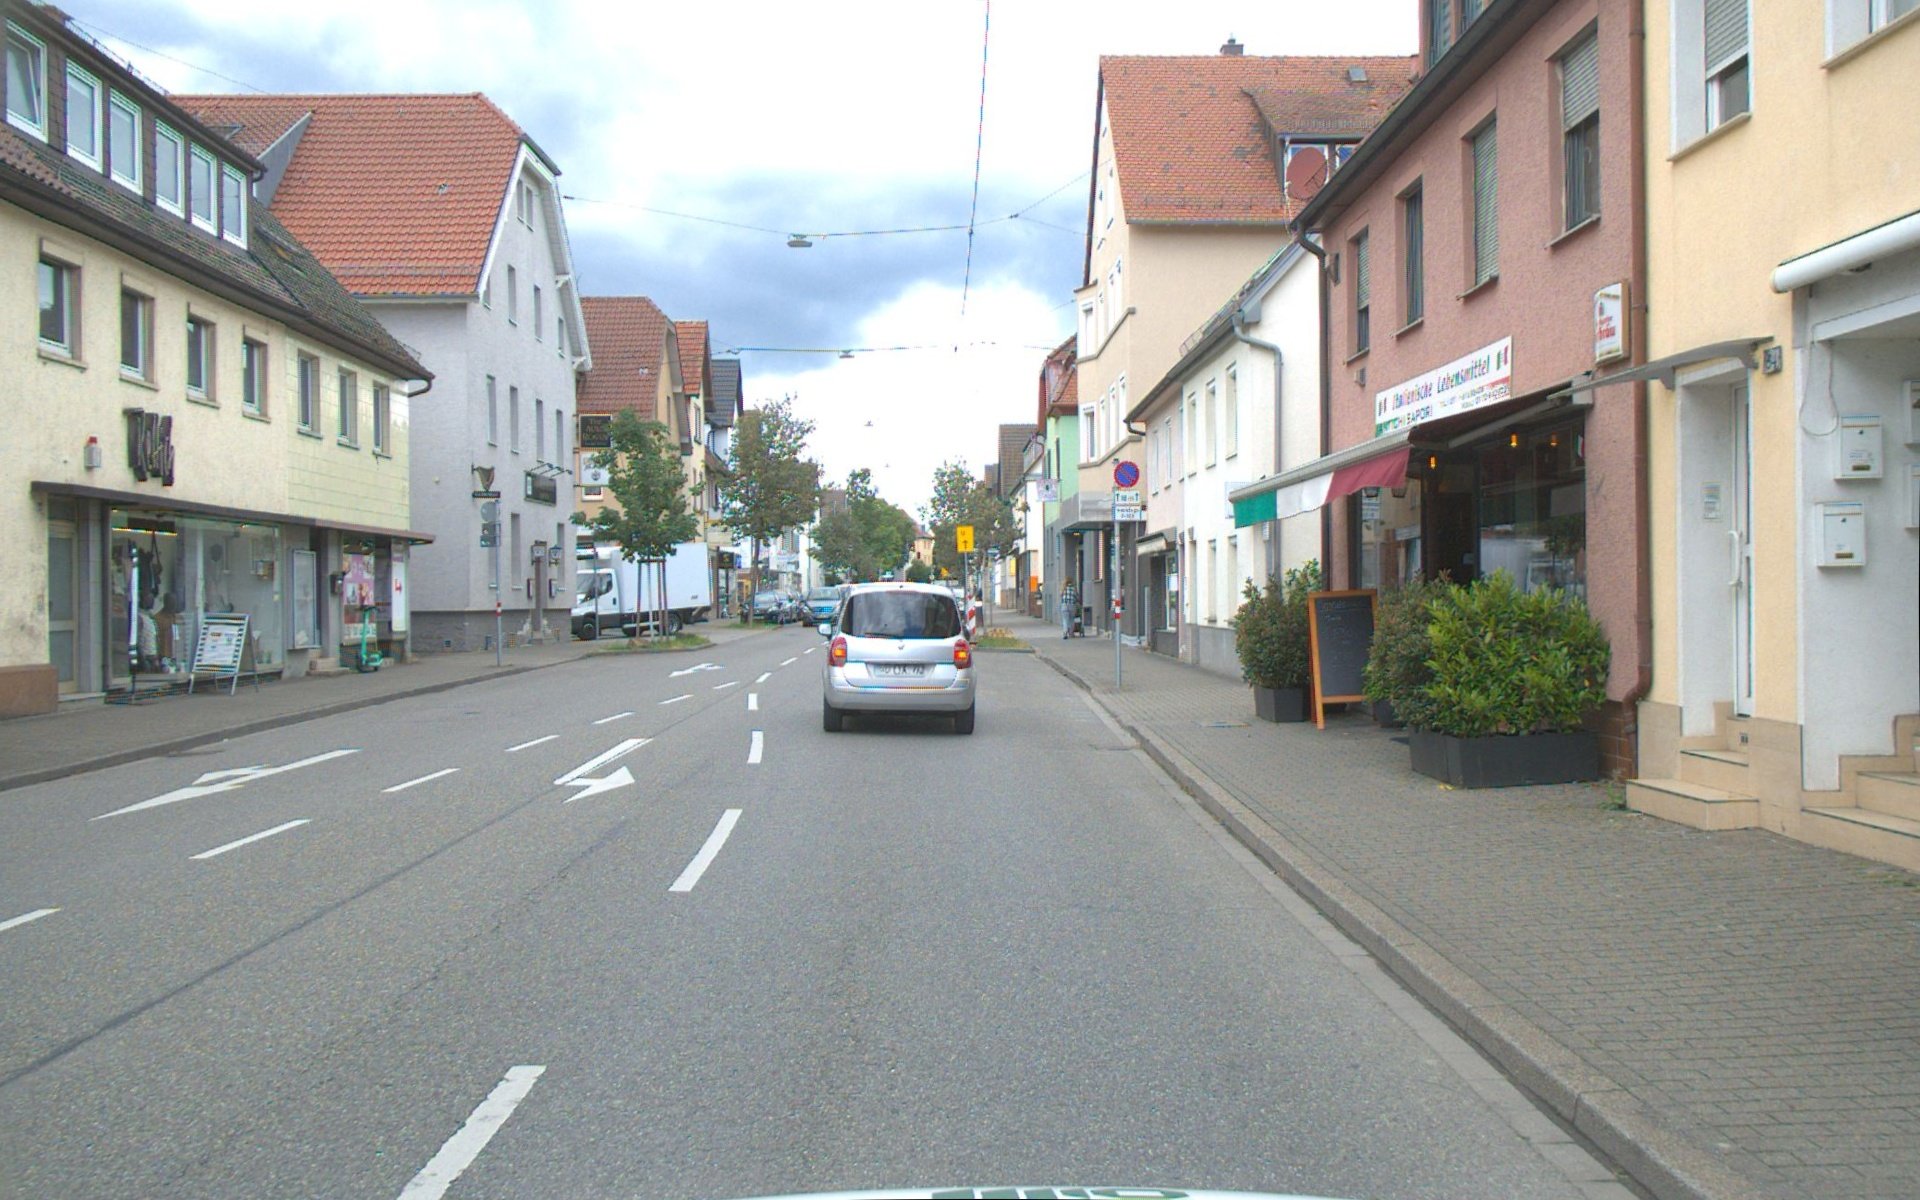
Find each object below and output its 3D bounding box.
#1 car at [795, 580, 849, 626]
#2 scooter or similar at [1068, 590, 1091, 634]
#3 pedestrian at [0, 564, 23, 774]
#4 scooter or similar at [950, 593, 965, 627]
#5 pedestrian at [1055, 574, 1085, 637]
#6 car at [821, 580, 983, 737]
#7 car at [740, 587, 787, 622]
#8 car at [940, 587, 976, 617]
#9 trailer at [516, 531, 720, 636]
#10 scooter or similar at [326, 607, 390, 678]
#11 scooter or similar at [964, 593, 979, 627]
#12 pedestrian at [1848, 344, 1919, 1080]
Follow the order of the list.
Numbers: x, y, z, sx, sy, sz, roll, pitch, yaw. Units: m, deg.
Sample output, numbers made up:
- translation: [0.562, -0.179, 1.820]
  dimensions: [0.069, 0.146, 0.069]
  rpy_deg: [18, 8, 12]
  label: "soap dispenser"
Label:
- translation: [-5.781, 0.112, 69.723]
  dimensions: [1.953, 1.827, 4.276]
  rpy_deg: [-1, 0, -1]
  label: "car"
- translation: [3.425, 0.331, 47.398]
  dimensions: [0.577, 1.254, 0.891]
  rpy_deg: [0, 0, -2]
  label: "scooter or similar"
- translation: [-8.421, 0.583, 13.900]
  dimensions: [0.664, 1.767, 0.717]
  rpy_deg: [-1, 0, -1]
  label: "pedestrian"
- translation: [-0.106, 0.365, 62.642]
  dimensions: [0.492, 1.257, 1.942]
  rpy_deg: [0, 0, -1]
  label: "scooter or similar"
- translation: [3.084, 0.145, 46.443]
  dimensions: [0.735, 1.750, 0.900]
  rpy_deg: [0, 0, -1]
  label: "pedestrian"
- translation: [-0.599, 0.591, 18.977]
  dimensions: [1.648, 1.593, 3.993]
  rpy_deg: [1, 0, 0]
  label: "car"
- translation: [-8.513, 0.188, 71.983]
  dimensions: [1.648, 1.449, 3.930]
  rpy_deg: [-2, 0, -2]
  label: "car"
- translation: [-0.121, 0.103, 85.495]
  dimensions: [1.793, 1.471, 4.331]
  rpy_deg: [1, 0, 0]
  label: "car"
- translation: [-11.358, -0.526, 55.624]
  dimensions: [2.458, 3.275, 7.116]
  rpy_deg: [0, 0, 32]
  label: "trailer"
- translation: [-10.667, 0.735, 29.354]
  dimensions: [0.517, 1.190, 1.721]
  rpy_deg: [0, 0, -1]
  label: "scooter or similar"
- translation: [0.417, 0.365, 62.662]
  dimensions: [0.492, 1.257, 1.942]
  rpy_deg: [0, 0, -1]
  label: "scooter or similar"
- translation: [3.121, 0.318, 4.459]
  dimensions: [0.807, 2.110, 1.011]
  rpy_deg: [-3, 0, 1]
  label: "pedestrian"
